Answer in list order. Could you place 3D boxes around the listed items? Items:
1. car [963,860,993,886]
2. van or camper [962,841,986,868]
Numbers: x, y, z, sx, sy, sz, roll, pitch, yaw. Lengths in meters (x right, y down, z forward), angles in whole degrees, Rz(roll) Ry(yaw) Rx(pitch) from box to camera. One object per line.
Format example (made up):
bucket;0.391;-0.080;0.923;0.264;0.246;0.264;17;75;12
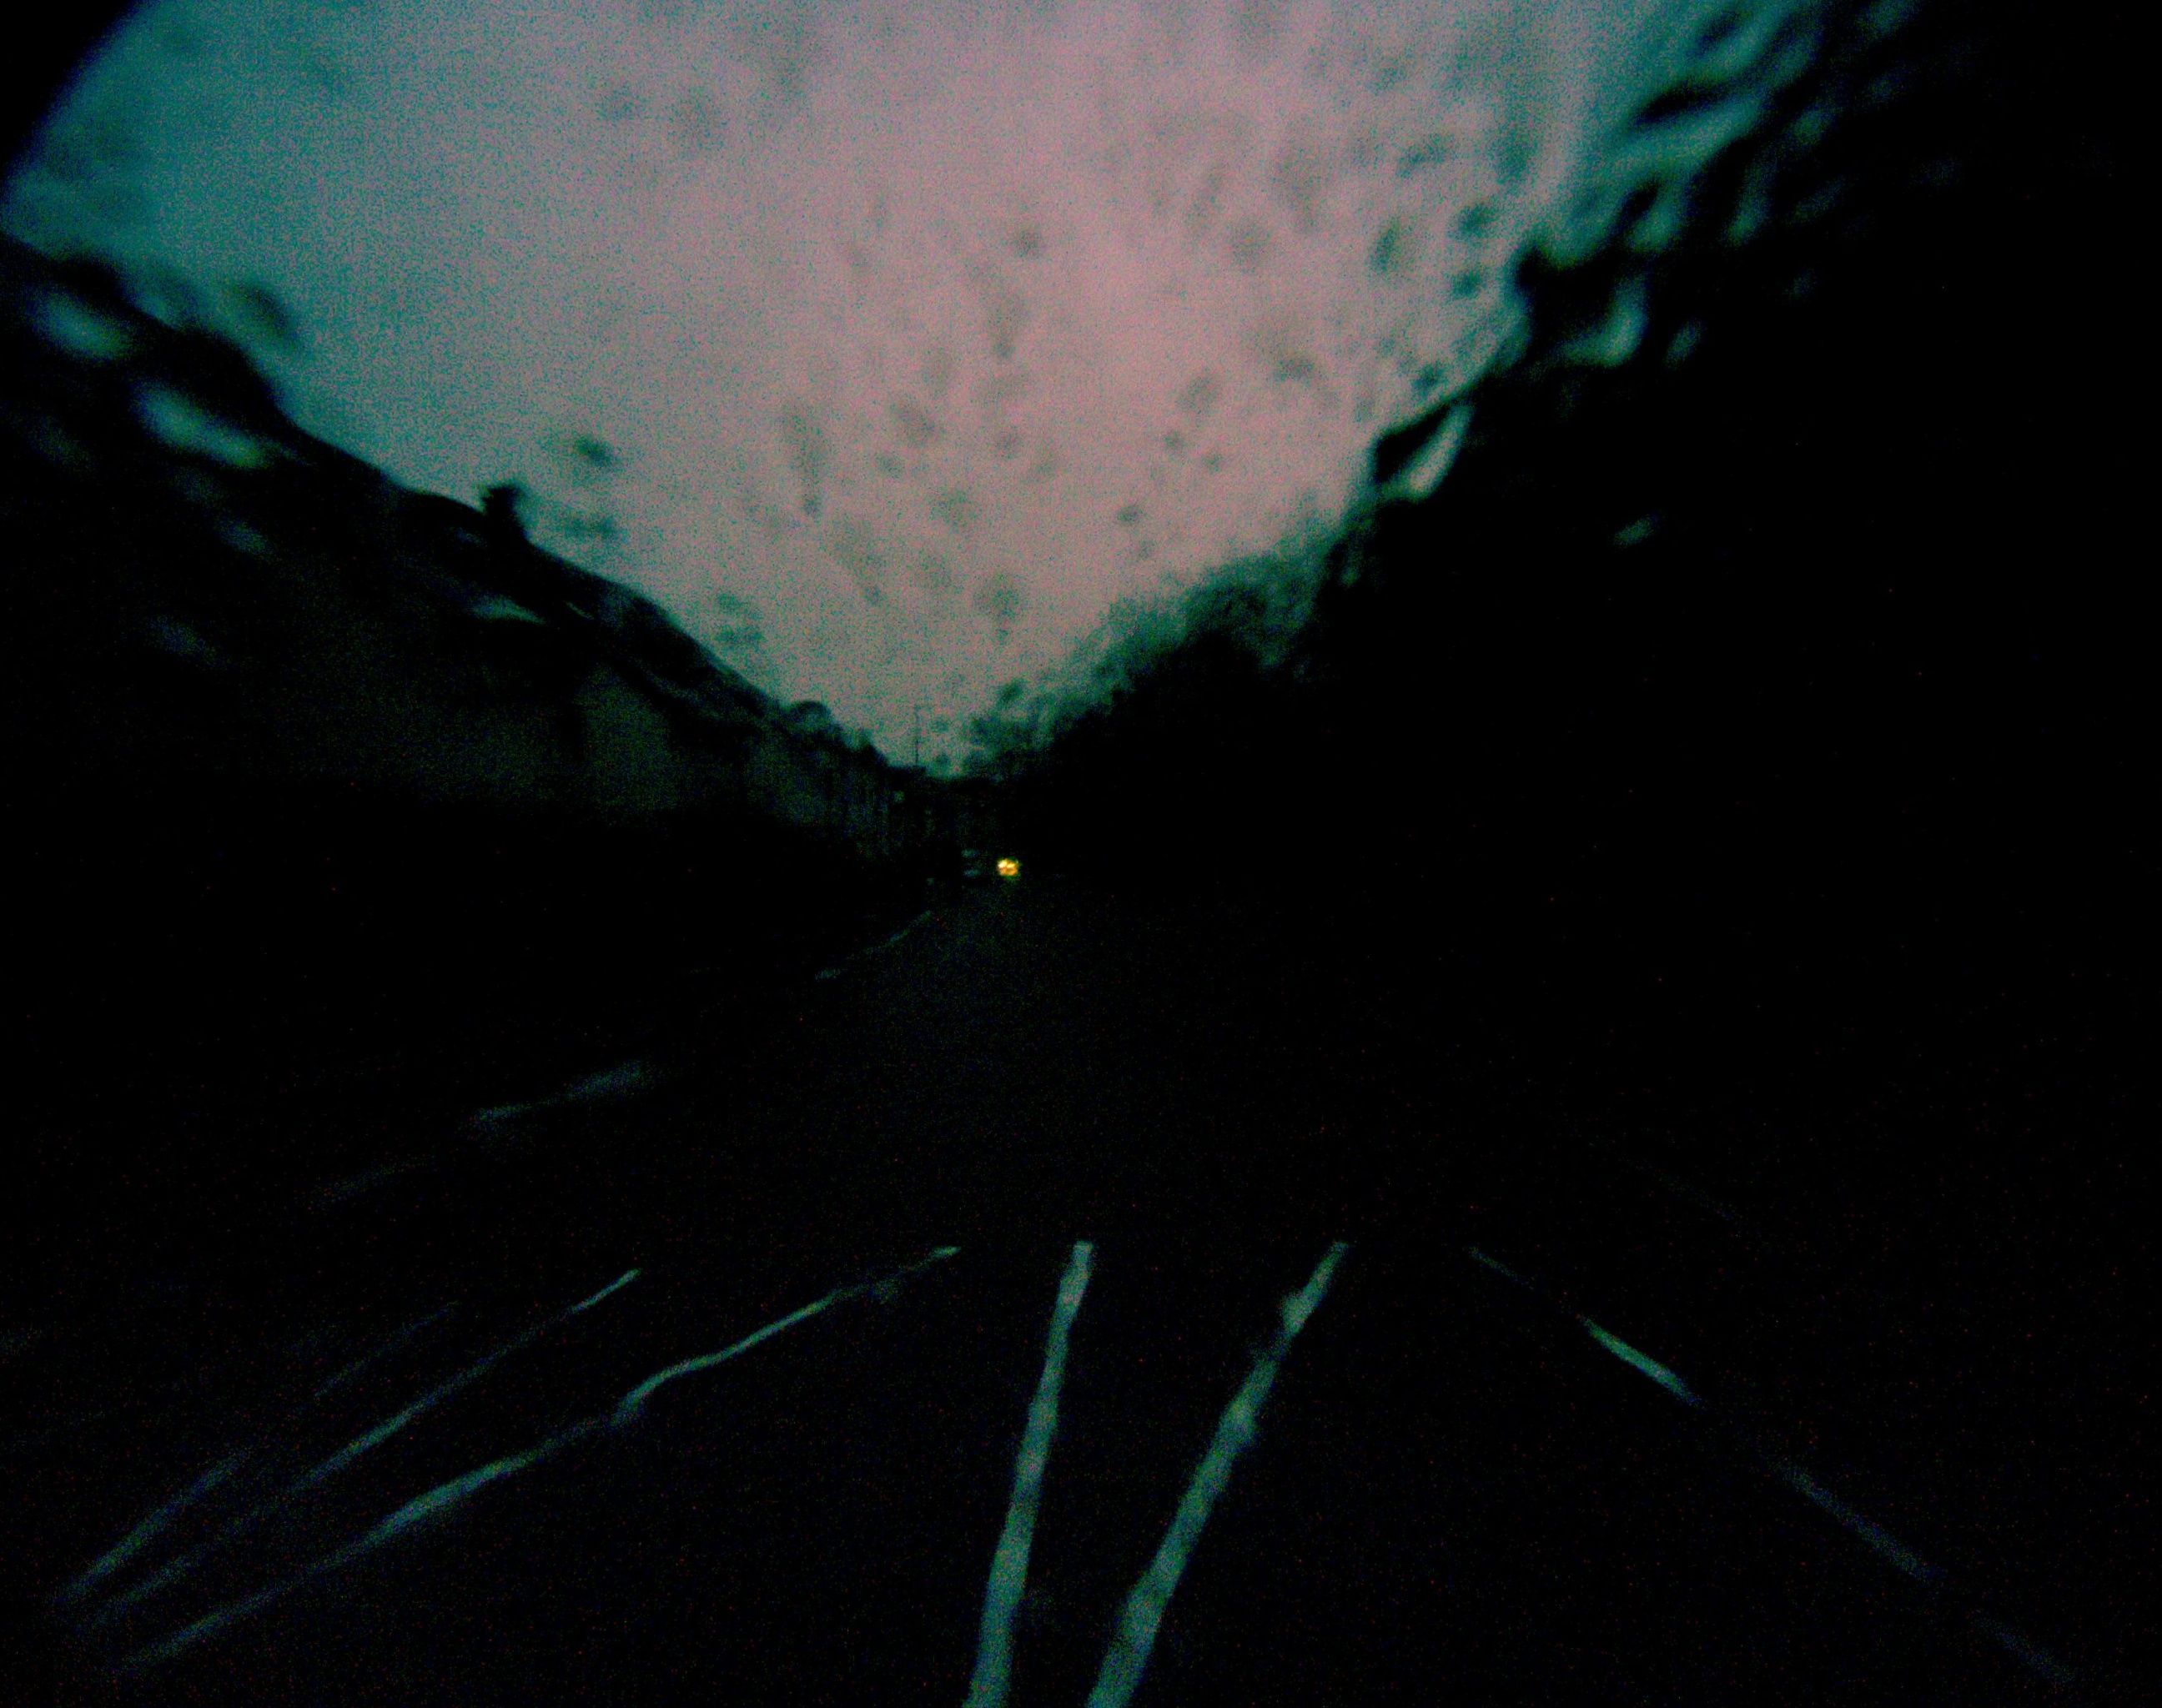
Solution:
car;-6.663;1.181;48.989;1.744;1.421;4.453;-3;1;-9
van or camper;-10.553;0.051;74.401;2.021;2.493;6.787;-1;0;-10
